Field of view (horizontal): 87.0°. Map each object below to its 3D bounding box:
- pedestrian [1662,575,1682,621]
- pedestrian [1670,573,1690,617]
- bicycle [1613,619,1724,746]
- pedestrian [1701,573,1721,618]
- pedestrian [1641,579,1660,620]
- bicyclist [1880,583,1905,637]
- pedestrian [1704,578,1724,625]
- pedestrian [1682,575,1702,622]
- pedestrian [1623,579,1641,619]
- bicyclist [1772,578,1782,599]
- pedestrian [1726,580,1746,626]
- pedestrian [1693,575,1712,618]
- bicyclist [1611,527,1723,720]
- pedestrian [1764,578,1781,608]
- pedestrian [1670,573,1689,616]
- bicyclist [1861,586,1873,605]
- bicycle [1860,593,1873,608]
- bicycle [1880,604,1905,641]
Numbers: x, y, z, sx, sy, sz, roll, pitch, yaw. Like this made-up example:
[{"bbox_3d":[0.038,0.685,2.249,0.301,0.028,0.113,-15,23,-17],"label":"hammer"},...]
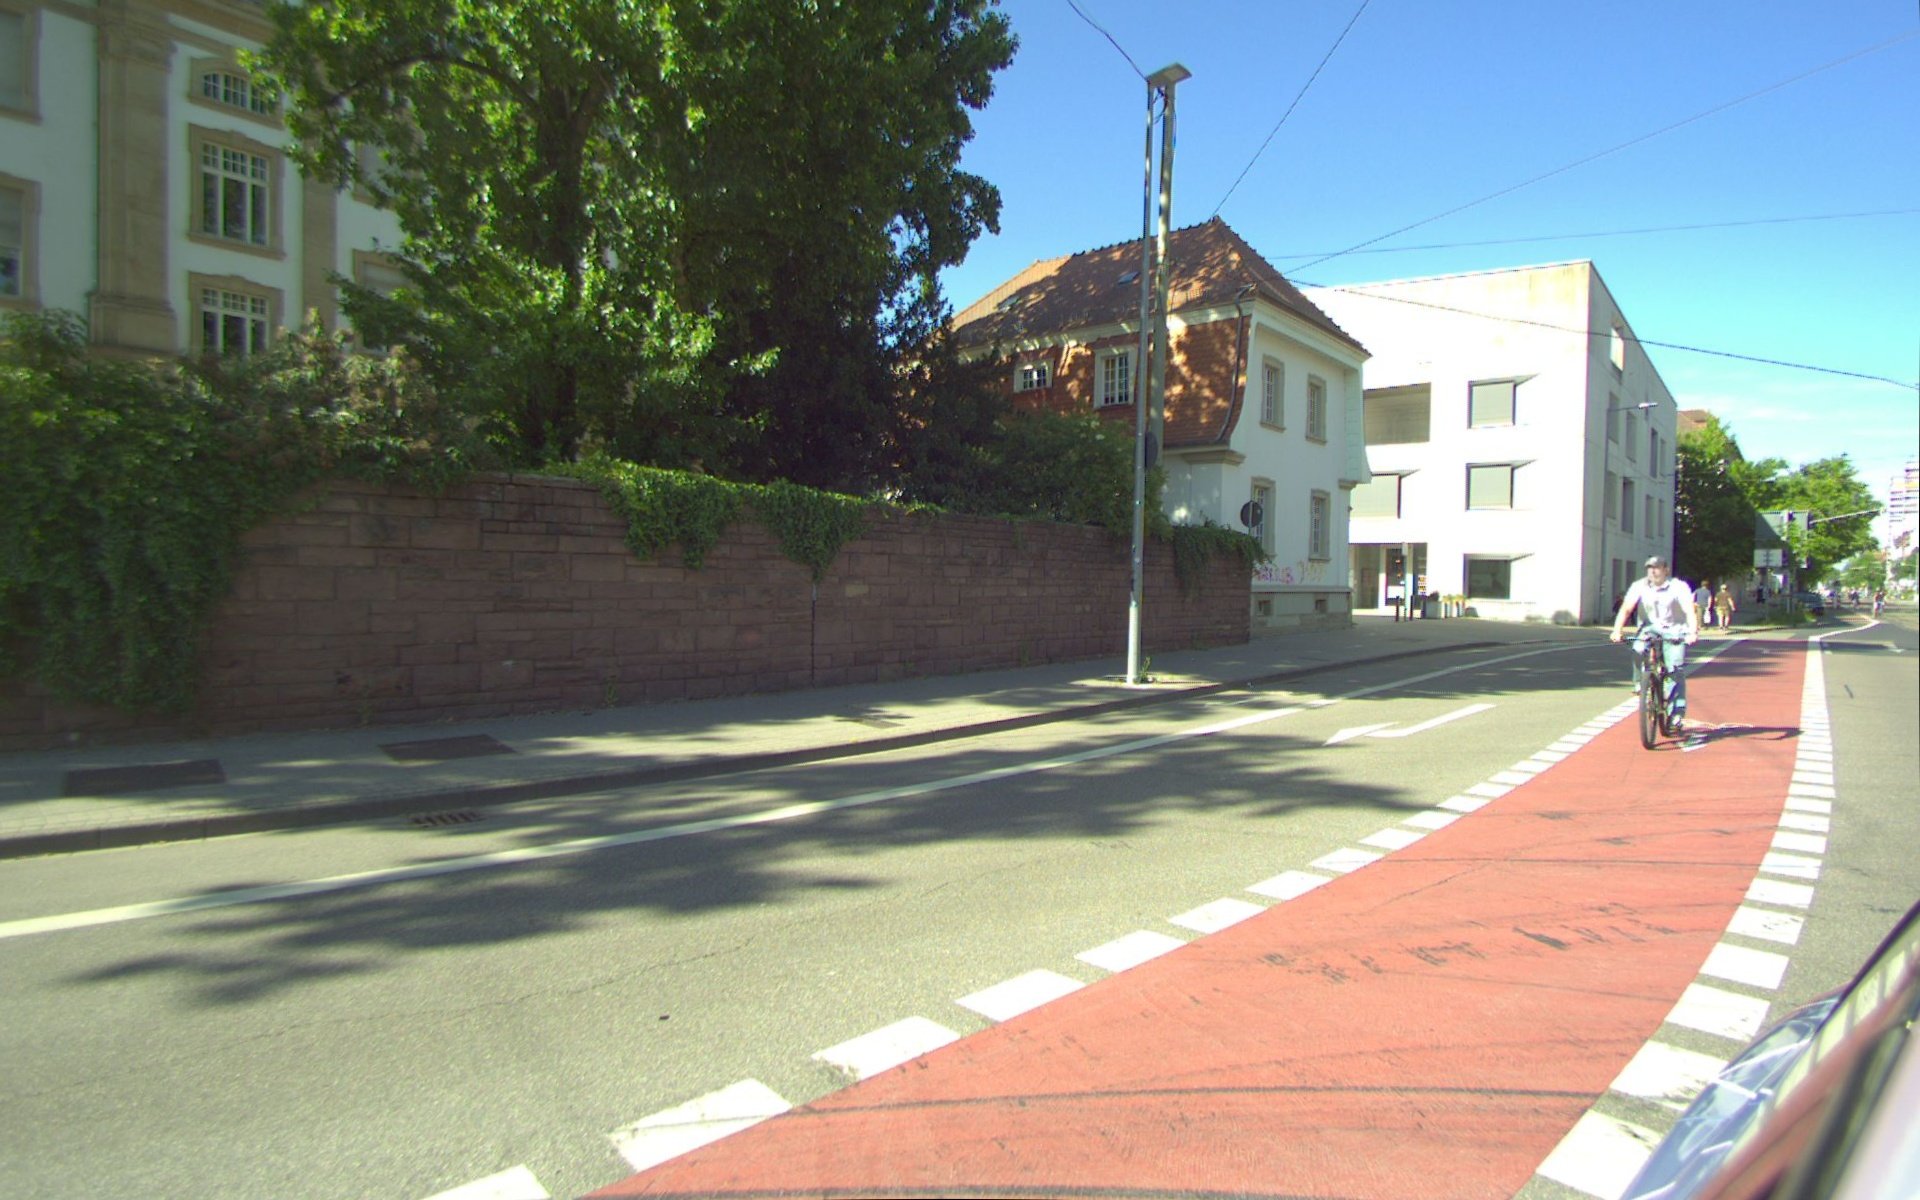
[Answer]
[{"bbox_3d":[28.722,-0.074,40.826,0.585,1.828,0.537,1,1,41],"label":"pedestrian"},{"bbox_3d":[29.950,-0.207,42.109,0.585,1.828,0.574,1,1,41],"label":"pedestrian"},{"bbox_3d":[7.054,0.765,10.046,0.611,1.090,1.800,1,1,45],"label":"bicycle"},{"bbox_3d":[31.040,-0.208,41.831,0.585,1.828,0.574,1,1,41],"label":"pedestrian"},{"bbox_3d":[27.383,-0.034,40.143,0.532,1.586,0.512,1,1,41],"label":"pedestrian"},{"bbox_3d":[52.784,0.552,57.277,1.000,3.012,1.451,0,1,43],"label":"bicyclist"},{"bbox_3d":[29.648,0.050,39.795,0.585,1.828,0.512,1,1,41],"label":"pedestrian"},{"bbox_3d":[29.173,-0.065,40.334,0.585,1.828,0.537,1,1,41],"label":"pedestrian"},{"bbox_3d":[26.923,-0.041,40.540,0.532,1.586,0.512,1,1,41],"label":"pedestrian"},{"bbox_3d":[87.530,-1.209,108.415,0.810,2.234,0.969,0,1,43],"label":"bicyclist"},{"bbox_3d":[30.290,0.118,39.507,0.585,1.749,0.512,1,1,41],"label":"pedestrian"},{"bbox_3d":[31.926,-0.165,43.530,0.585,1.828,0.537,1,1,41],"label":"pedestrian"},{"bbox_3d":[7.046,0.210,10.074,0.750,1.798,0.998,1,1,45],"label":"bicyclist"},{"bbox_3d":[49.145,-0.420,61.214,0.677,1.760,0.917,2,1,43],"label":"pedestrian"},{"bbox_3d":[31.281,-0.241,44.011,0.585,1.828,0.537,1,1,41],"label":"pedestrian"},{"bbox_3d":[73.025,-0.386,81.499,0.612,1.480,0.664,-1,1,-44],"label":"bicyclist"},{"bbox_3d":[73.025,0.038,81.501,1.645,1.166,0.664,-2,1,-45],"label":"bicycle"},{"bbox_3d":[52.726,1.246,57.242,1.000,1.910,3.834,0,1,43],"label":"bicycle"}]
